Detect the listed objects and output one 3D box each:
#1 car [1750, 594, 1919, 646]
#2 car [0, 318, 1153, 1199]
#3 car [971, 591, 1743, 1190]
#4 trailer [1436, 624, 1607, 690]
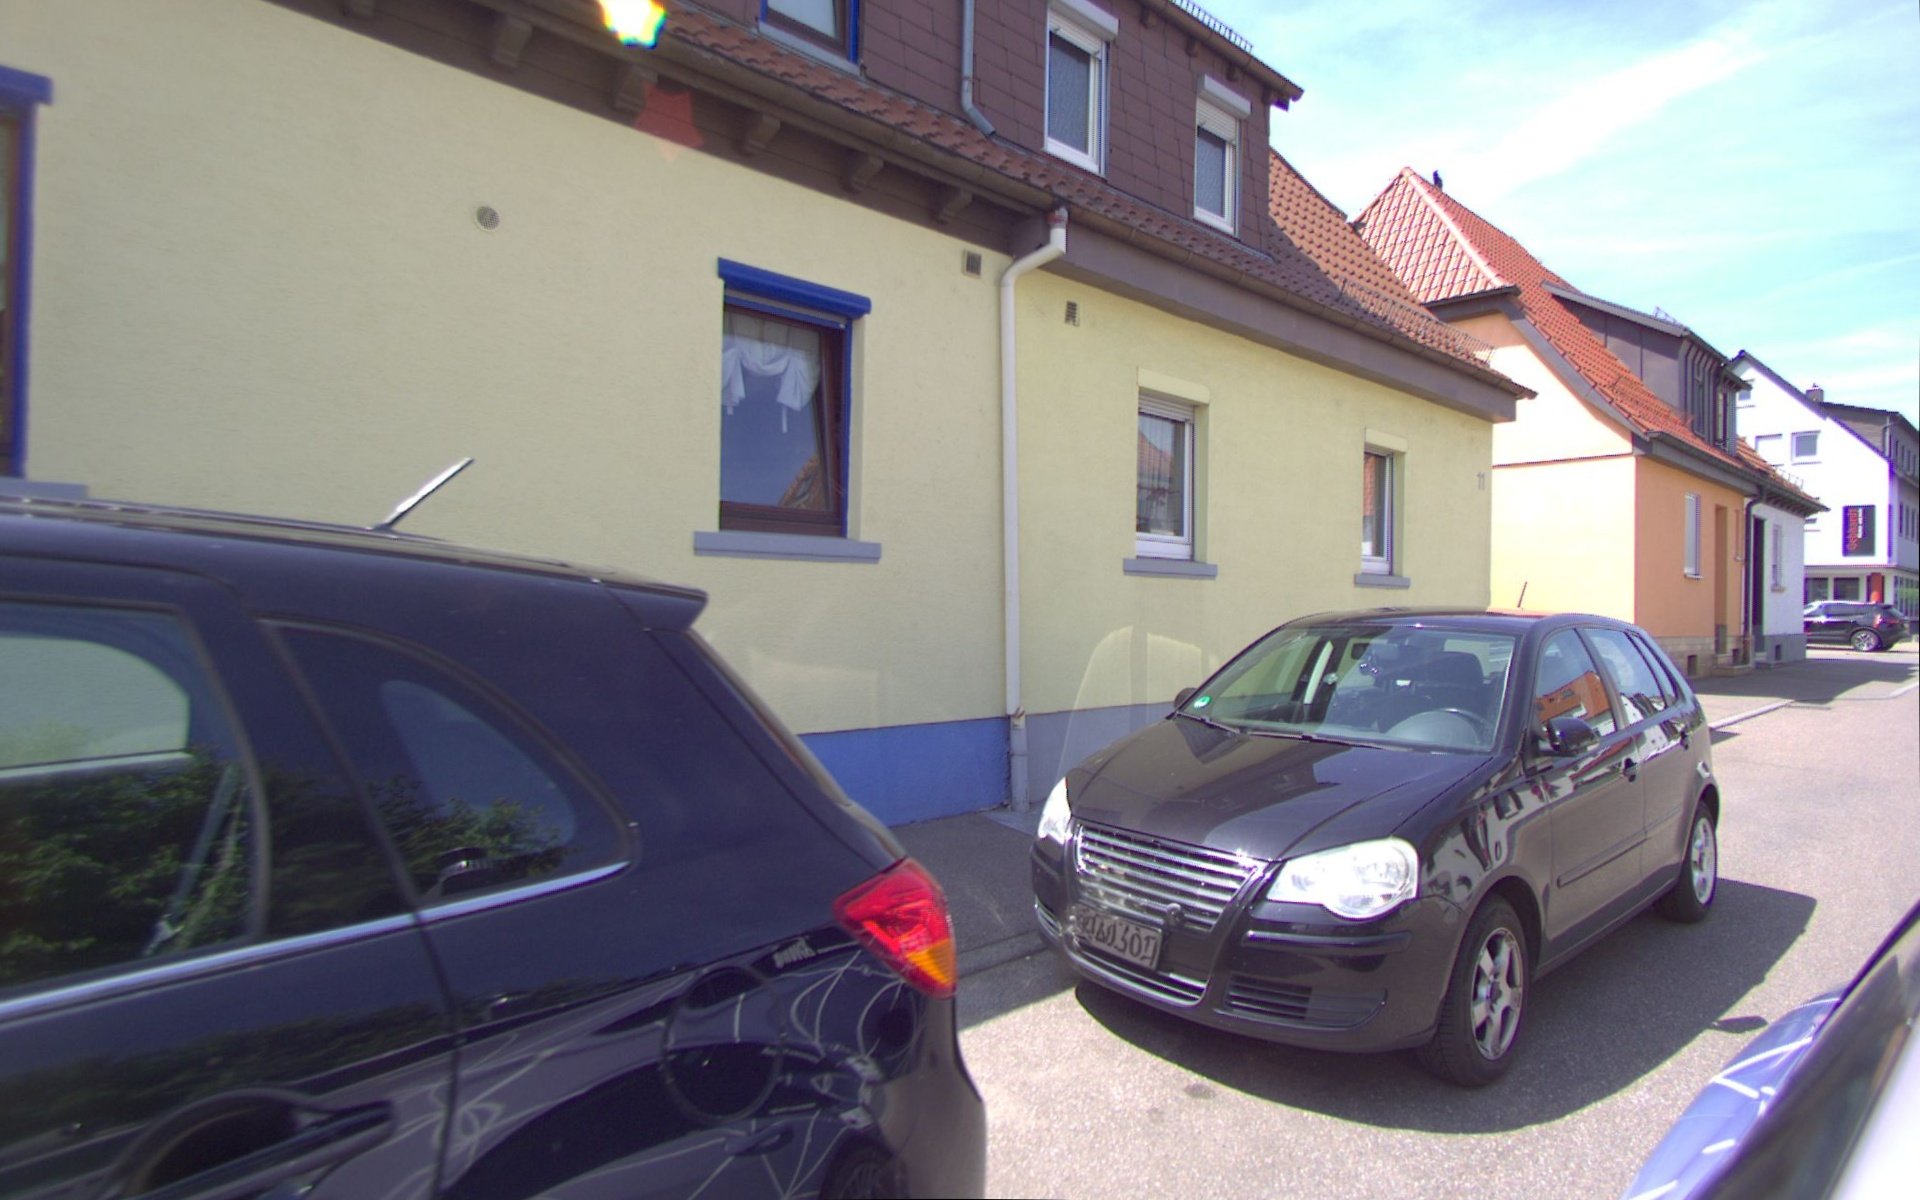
[{"bbox_3d":[29.975,0.644,34.616,1.812,1.674,4.309,0,0,-33],"label":"car"},{"bbox_3d":[-1.842,0.616,0.823,4.179,1.620,1.731,0,-1,-41],"label":"car"},{"bbox_3d":[1.936,0.707,4.311,3.690,1.449,1.612,0,-1,-42],"label":"car"},{"bbox_3d":[8.613,0.853,15.669,2.114,0.911,1.235,0,0,19],"label":"trailer"}]
